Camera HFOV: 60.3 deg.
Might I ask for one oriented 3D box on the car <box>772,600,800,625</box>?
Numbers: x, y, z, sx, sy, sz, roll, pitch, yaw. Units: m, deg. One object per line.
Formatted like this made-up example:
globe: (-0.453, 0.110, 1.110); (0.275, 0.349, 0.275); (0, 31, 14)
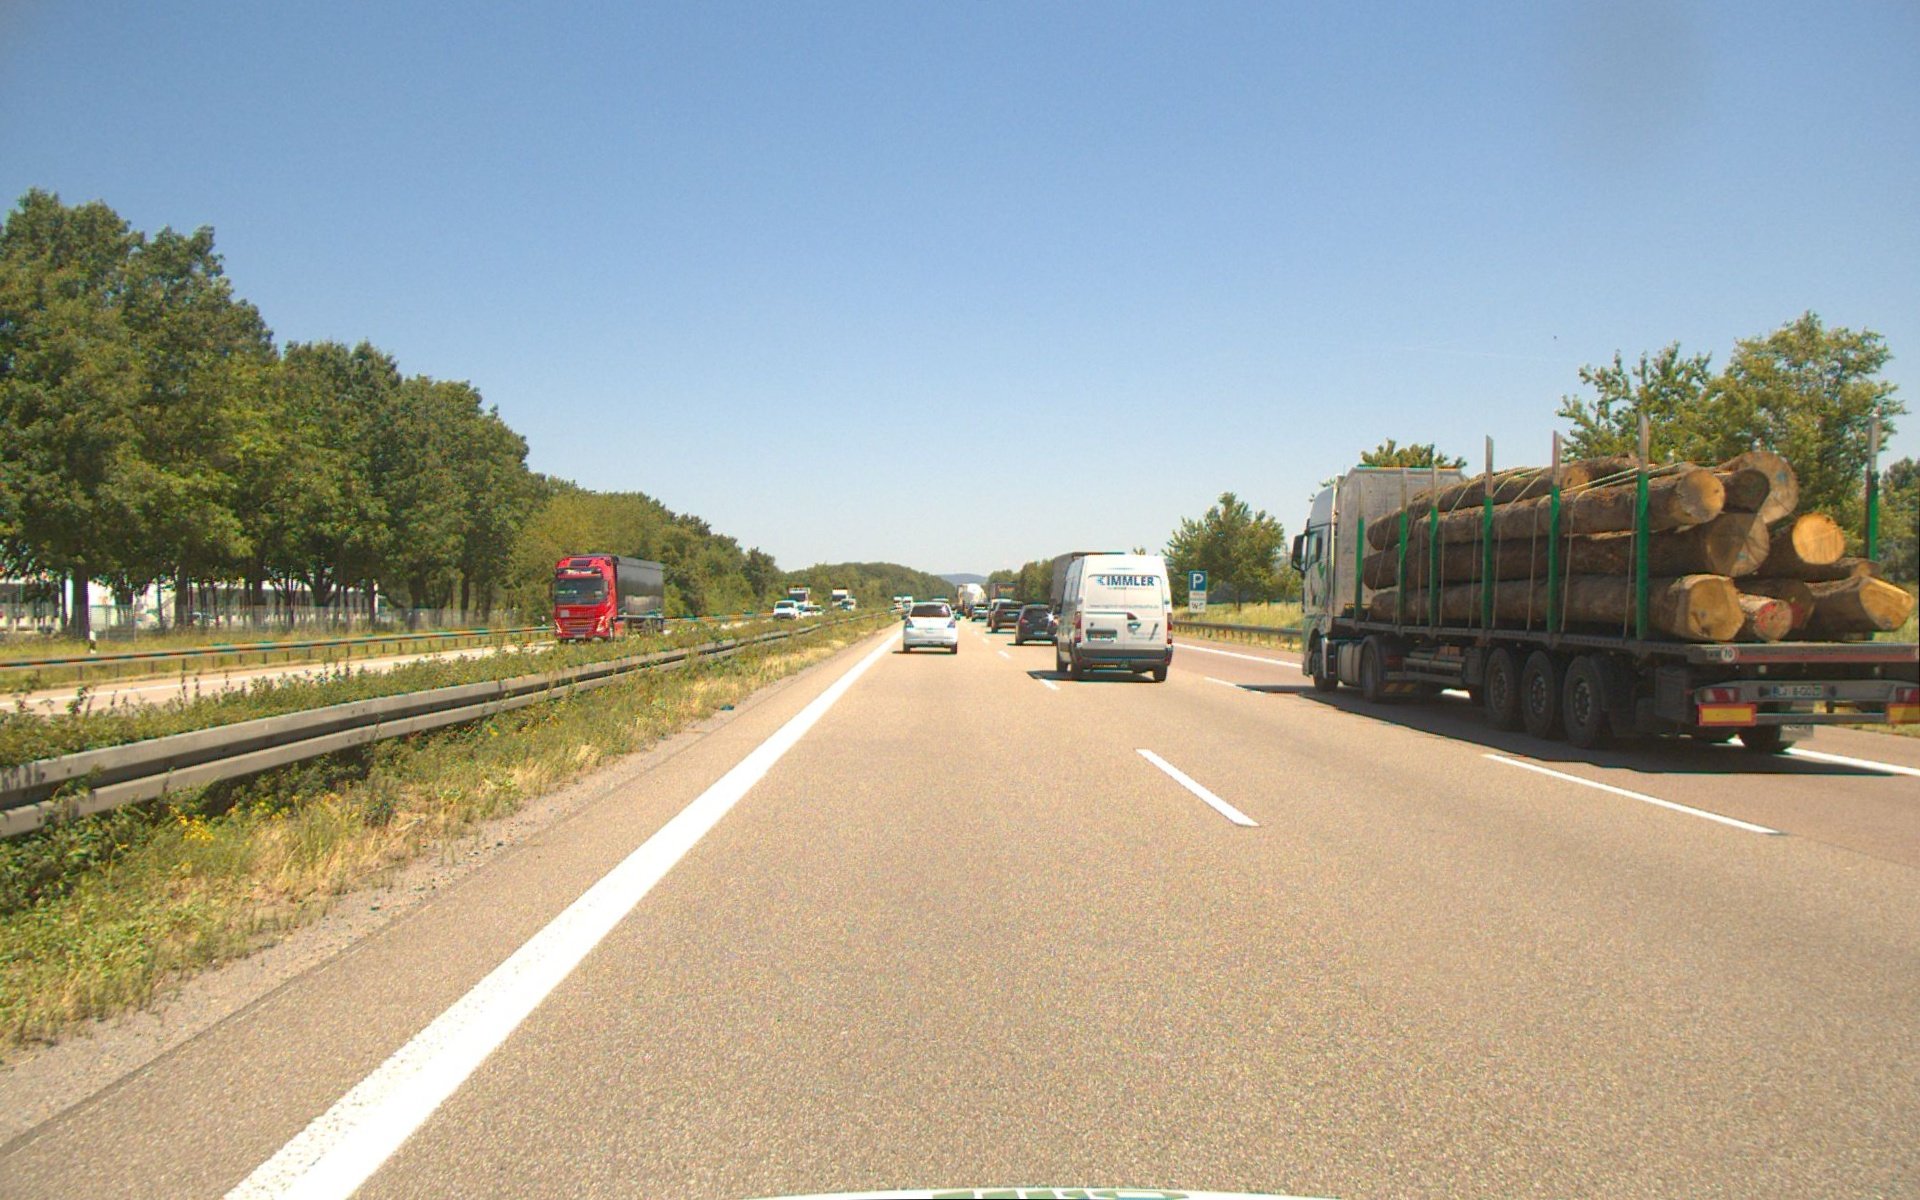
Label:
car: (-14.410, 1.019, 136.955); (1.955, 1.946, 5.209); (-2, 0, -2)

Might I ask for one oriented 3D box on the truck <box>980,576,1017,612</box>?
truck: (4.809, -0.695, 210.826); (3.193, 4.282, 16.831); (2, 0, -3)

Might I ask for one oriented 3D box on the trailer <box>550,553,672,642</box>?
trailer: (-17.792, -0.093, 85.540); (3.377, 4.081, 14.200); (-2, 0, -1)

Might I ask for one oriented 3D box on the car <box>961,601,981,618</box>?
car: (1.103, 0.985, 167.206); (1.820, 1.681, 3.998); (1, 0, -3)

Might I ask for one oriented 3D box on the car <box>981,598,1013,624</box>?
car: (2.462, 0.752, 110.569); (1.820, 1.681, 3.998); (1, 0, -3)

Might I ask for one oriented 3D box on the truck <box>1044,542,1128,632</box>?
truck: (6.535, -0.585, 88.516); (3.016, 4.282, 16.841); (2, 0, 0)

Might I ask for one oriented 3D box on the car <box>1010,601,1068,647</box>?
car: (2.938, 0.881, 62.512); (1.820, 1.681, 3.998); (1, 0, -3)

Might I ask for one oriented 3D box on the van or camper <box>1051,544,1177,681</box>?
van or camper: (3.189, 0.246, 35.456); (2.016, 2.668, 5.984); (1, 0, -1)

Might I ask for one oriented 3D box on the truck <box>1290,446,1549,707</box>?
truck: (7.897, -0.364, 29.329); (2.615, 4.064, 6.634); (1, 0, -1)

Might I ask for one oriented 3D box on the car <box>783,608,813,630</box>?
car: (-12.156, 1.417, 124.490); (1.882, 1.555, 4.866); (-2, 0, -2)

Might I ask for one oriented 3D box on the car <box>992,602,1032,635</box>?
car: (2.719, 0.958, 87.291); (1.820, 1.681, 3.998); (1, 0, -3)

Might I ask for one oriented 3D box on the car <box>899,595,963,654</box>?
car: (-0.939, 0.730, 51.053); (1.820, 1.681, 3.998); (2, 0, -3)

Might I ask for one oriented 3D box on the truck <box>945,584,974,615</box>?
truck: (-0.192, -0.016, 240.929); (3.193, 4.282, 16.831); (2, 0, -3)

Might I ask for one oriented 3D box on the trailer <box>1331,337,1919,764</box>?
trailer: (8.023, -0.462, 22.568); (2.599, 4.028, 13.633); (1, 0, -1)

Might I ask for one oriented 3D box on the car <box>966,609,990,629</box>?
car: (1.552, 1.621, 142.322); (1.820, 1.681, 3.998); (1, 0, -3)

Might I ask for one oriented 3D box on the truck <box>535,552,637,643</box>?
truck: (-17.681, -0.105, 78.561); (3.369, 3.999, 6.219); (-2, 0, -1)

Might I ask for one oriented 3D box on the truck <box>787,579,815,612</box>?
truck: (-19.534, -0.553, 203.055); (2.552, 3.827, 9.863); (-2, 0, -1)

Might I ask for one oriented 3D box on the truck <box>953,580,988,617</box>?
truck: (1.262, -0.159, 206.191); (3.193, 4.282, 16.831); (2, 0, -3)
